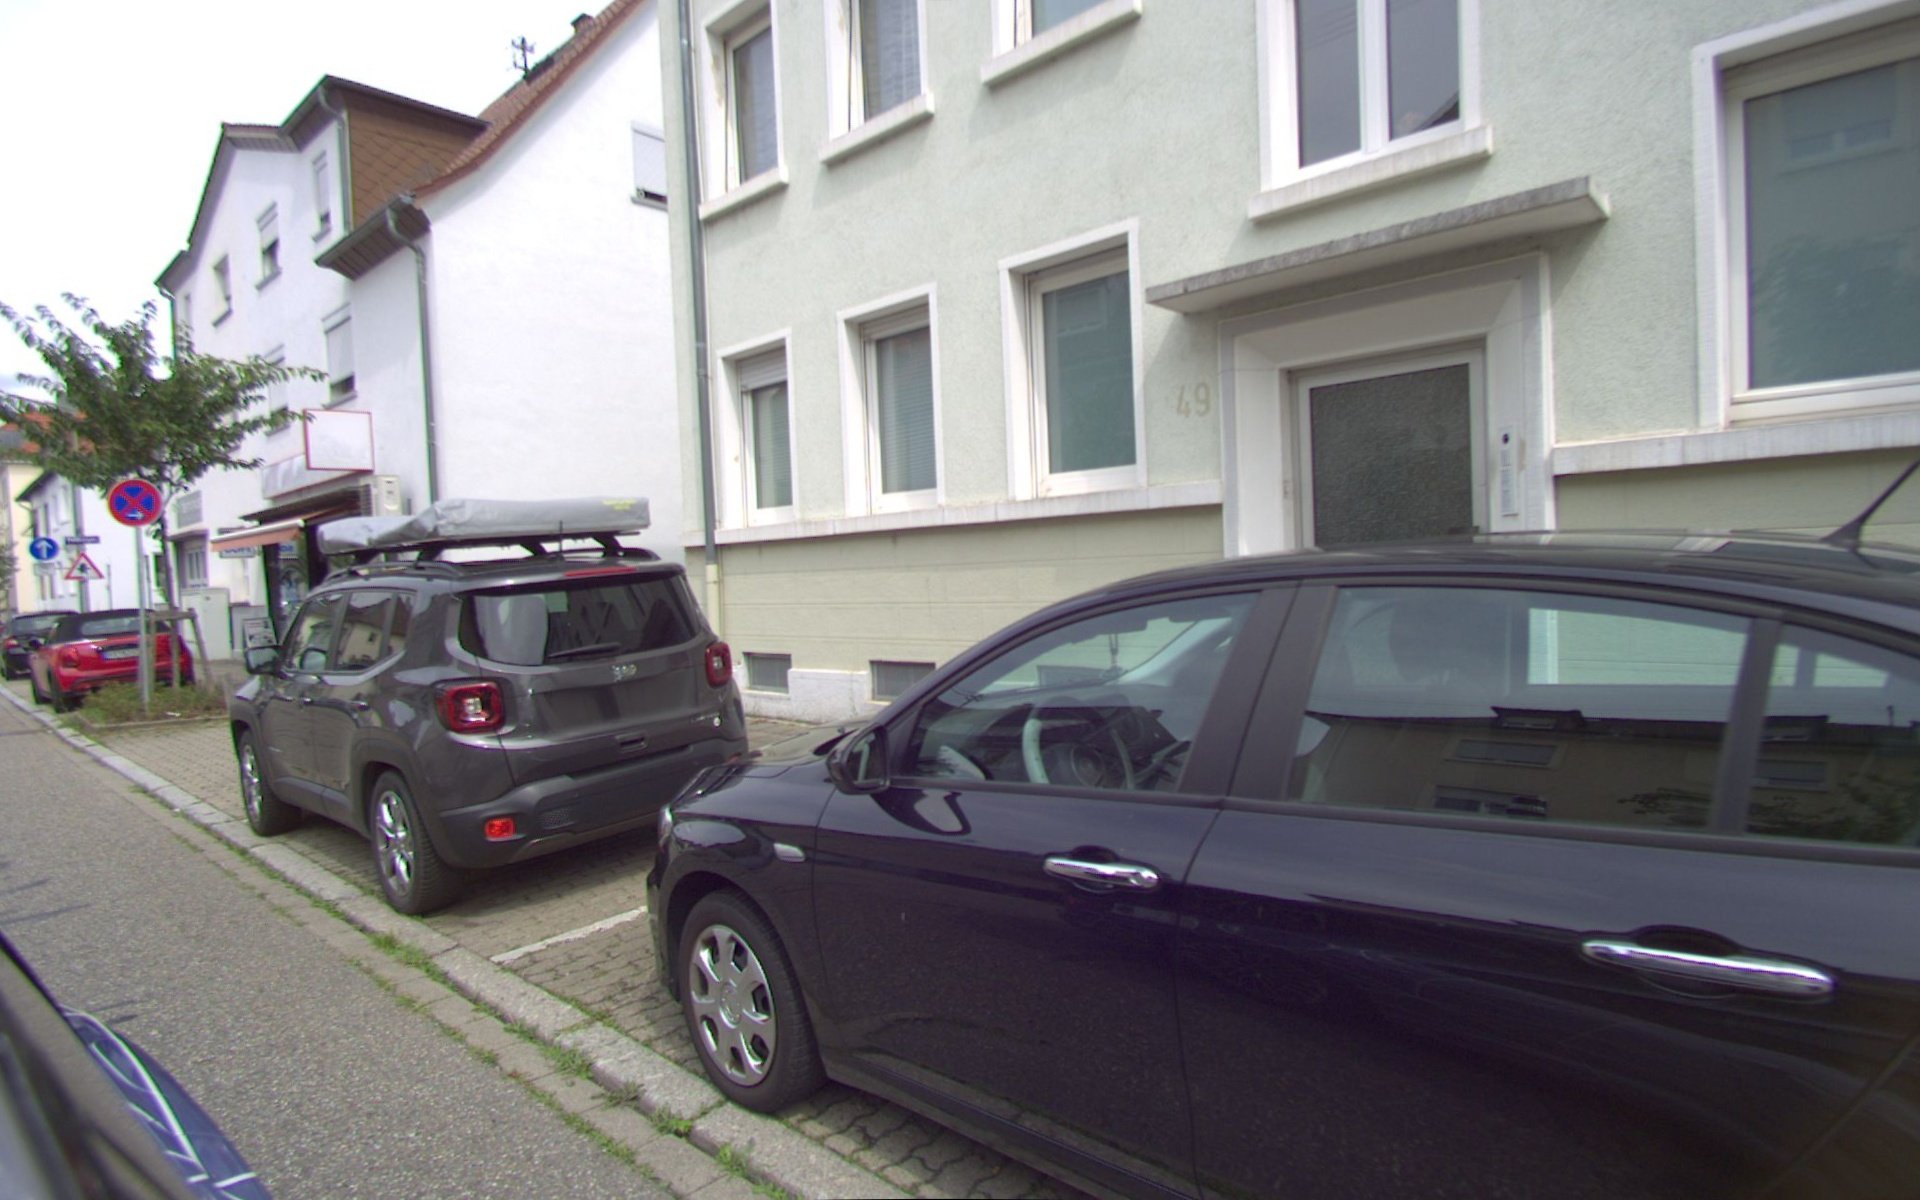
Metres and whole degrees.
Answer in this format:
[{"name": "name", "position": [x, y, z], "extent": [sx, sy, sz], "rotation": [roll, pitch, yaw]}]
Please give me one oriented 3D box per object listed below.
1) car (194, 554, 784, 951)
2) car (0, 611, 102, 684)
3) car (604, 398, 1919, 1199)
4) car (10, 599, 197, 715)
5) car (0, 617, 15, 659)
[{"name": "car", "position": [-3.072, 0.623, 6.107], "extent": [4.247, 1.594, 1.675], "rotation": [-1, 0, 42]}, {"name": "car", "position": [-20.925, 1.026, 22.998], "extent": [3.442, 1.497, 1.689], "rotation": [-1, 0, 41]}, {"name": "car", "position": [1.060, 0.532, 2.220], "extent": [4.250, 1.554, 1.683], "rotation": [-1, 2, 44]}, {"name": "car", "position": [-13.755, 0.819, 16.172], "extent": [4.114, 1.613, 1.689], "rotation": [-1, 0, 41]}, {"name": "car", "position": [-34.792, 1.345, 35.782], "extent": [3.442, 1.458, 1.689], "rotation": [-1, 0, 41]}]
